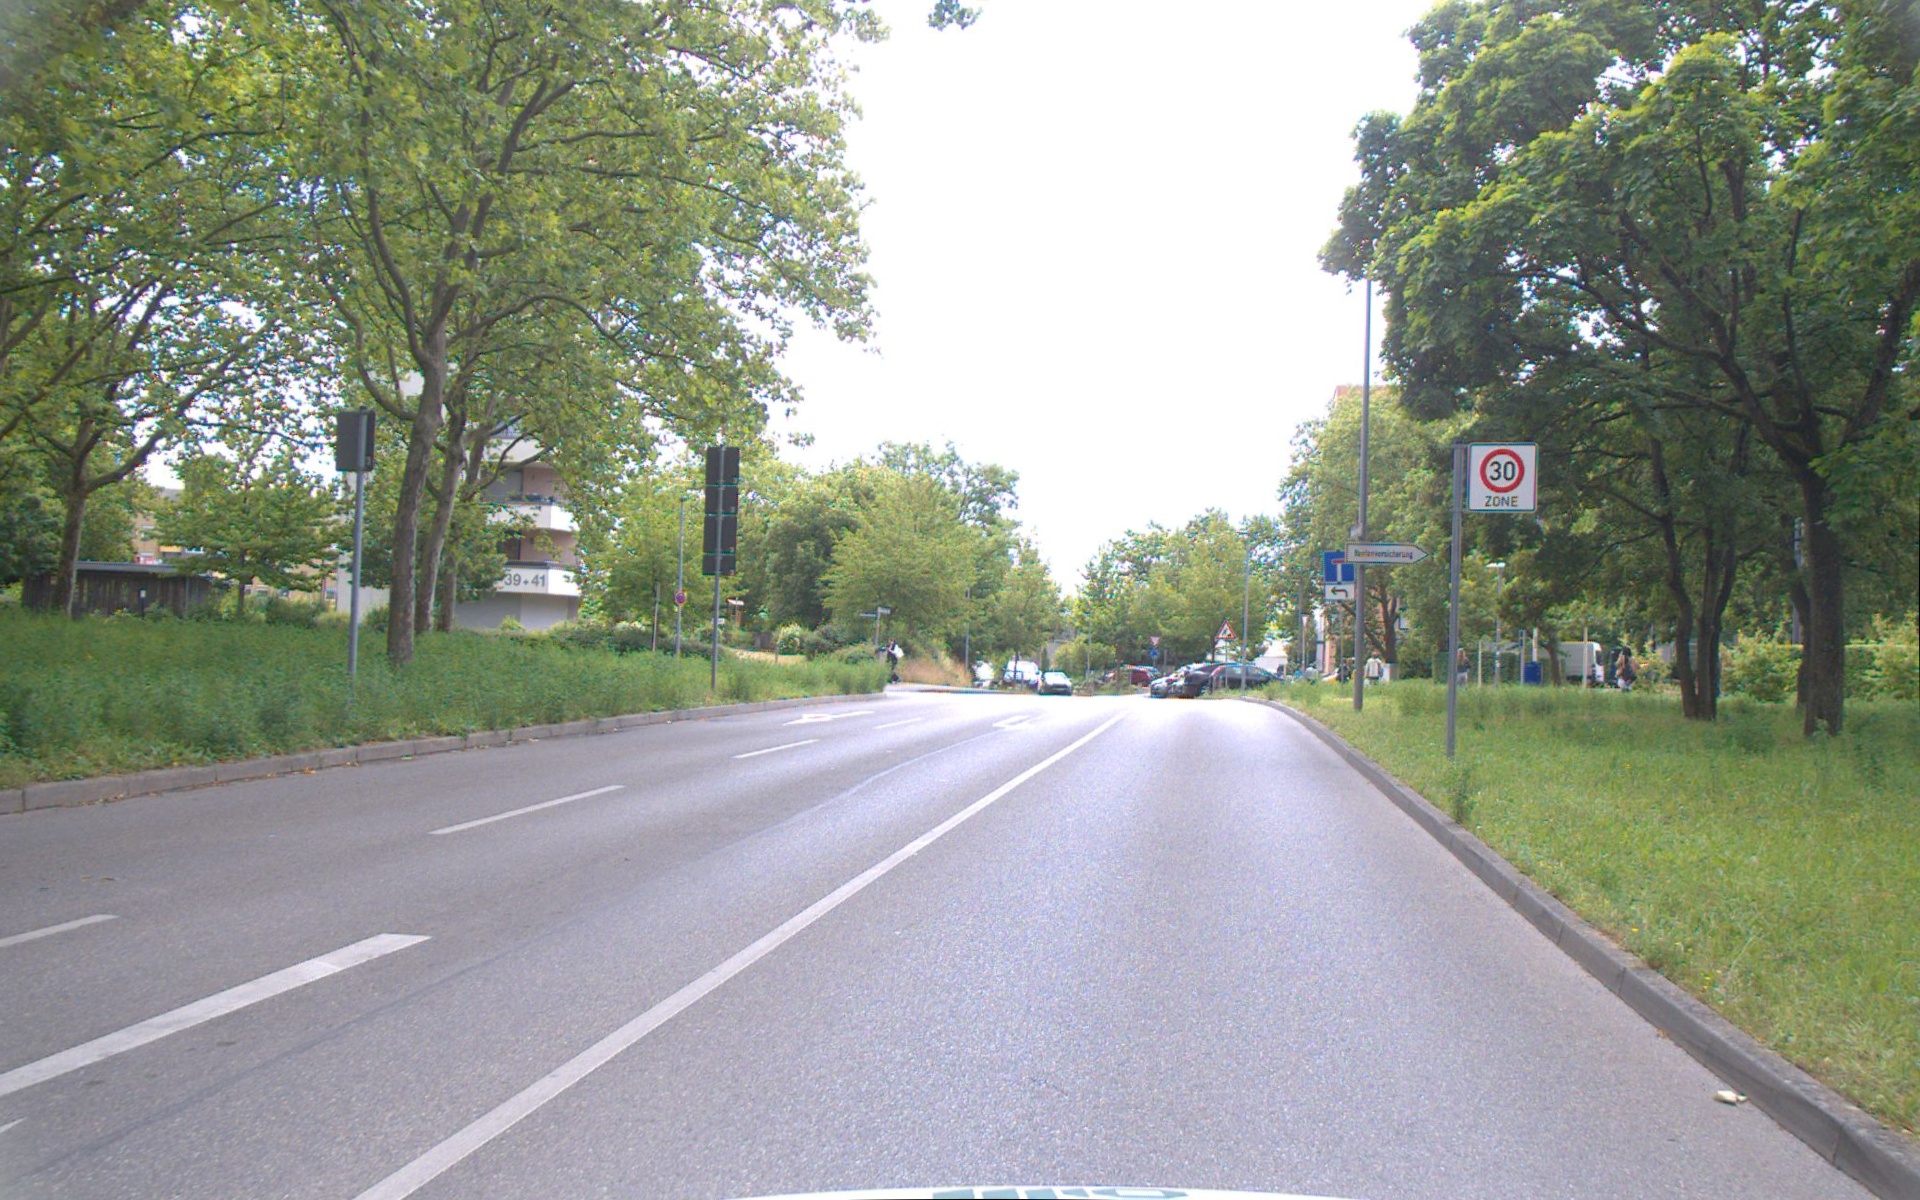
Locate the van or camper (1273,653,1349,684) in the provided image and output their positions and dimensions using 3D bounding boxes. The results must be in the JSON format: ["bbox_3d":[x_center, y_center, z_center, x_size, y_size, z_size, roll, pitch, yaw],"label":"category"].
[{"bbox_3d":[25.524,4.995,120.468,5.181,2.077,2.061,1,0,4],"label":"van or camper"}]

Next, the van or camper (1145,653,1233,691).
[{"bbox_3d":[12.598,3.956,91.158,4.576,1.903,1.772,1,0,1],"label":"van or camper"}]

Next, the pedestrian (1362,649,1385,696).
[{"bbox_3d":[15.901,2.794,63.655,0.784,1.753,0.824,2,0,11],"label":"pedestrian"}]

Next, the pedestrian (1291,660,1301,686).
[{"bbox_3d":[15.399,3.352,75.815,0.387,1.172,0.485,2,0,10],"label":"pedestrian"}]

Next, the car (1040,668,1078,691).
[{"bbox_3d":[6.727,5.410,112.776,1.936,1.489,3.929,1,-2,-5],"label":"car"}]

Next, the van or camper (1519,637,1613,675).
[{"bbox_3d":[33.671,3.108,91.988,4.598,1.948,1.763,1,0,38],"label":"van or camper"}]

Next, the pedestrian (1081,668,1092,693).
[{"bbox_3d":[9.749,6.195,127.523,0.706,1.897,0.650,1,-1,-2],"label":"pedestrian"}]

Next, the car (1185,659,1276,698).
[{"bbox_3d":[11.714,3.407,71.679,3.838,1.527,1.772,1,-5,9],"label":"car"}]

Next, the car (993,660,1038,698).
[{"bbox_3d":[2.453,3.424,72.514,1.728,1.527,3.937,1,-1,5],"label":"car"}]

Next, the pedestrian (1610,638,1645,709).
[{"bbox_3d":[17.019,1.858,42.166,0.759,1.753,0.822,1,0,25],"label":"pedestrian"}]

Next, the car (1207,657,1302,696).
[{"bbox_3d":[12.327,3.216,69.330,3.838,1.494,1.772,1,-5,9],"label":"car"}]

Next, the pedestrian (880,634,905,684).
[{"bbox_3d":[-2.427,2.118,59.214,0.804,1.753,0.776,2,0,-4],"label":"pedestrian"}]

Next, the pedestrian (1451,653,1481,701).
[{"bbox_3d":[18.692,2.842,61.124,0.763,1.724,0.819,1,-1,40],"label":"pedestrian"}]

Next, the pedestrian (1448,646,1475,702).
[{"bbox_3d":[15.077,2.207,49.729,0.758,1.624,0.824,1,-1,16],"label":"pedestrian"}]

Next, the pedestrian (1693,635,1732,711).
[{"bbox_3d":[17.788,1.712,39.094,0.759,1.753,0.822,1,0,28],"label":"pedestrian"}]

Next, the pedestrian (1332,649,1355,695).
[{"bbox_3d":[14.874,2.783,64.166,0.758,1.753,0.823,1,0,16],"label":"pedestrian"}]

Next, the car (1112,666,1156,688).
[{"bbox_3d":[14.494,6.437,137.684,3.467,1.683,1.621,2,-2,1],"label":"car"}]

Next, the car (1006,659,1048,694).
[{"bbox_3d":[3.170,3.568,77.533,1.728,1.527,3.936,1,-2,5],"label":"car"}]

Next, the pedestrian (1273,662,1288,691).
[{"bbox_3d":[15.998,3.814,82.517,0.675,1.449,0.753,2,-2,9],"label":"pedestrian"}]

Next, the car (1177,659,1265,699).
[{"bbox_3d":[11.729,3.568,74.433,3.838,1.659,1.772,1,-5,9],"label":"car"}]
